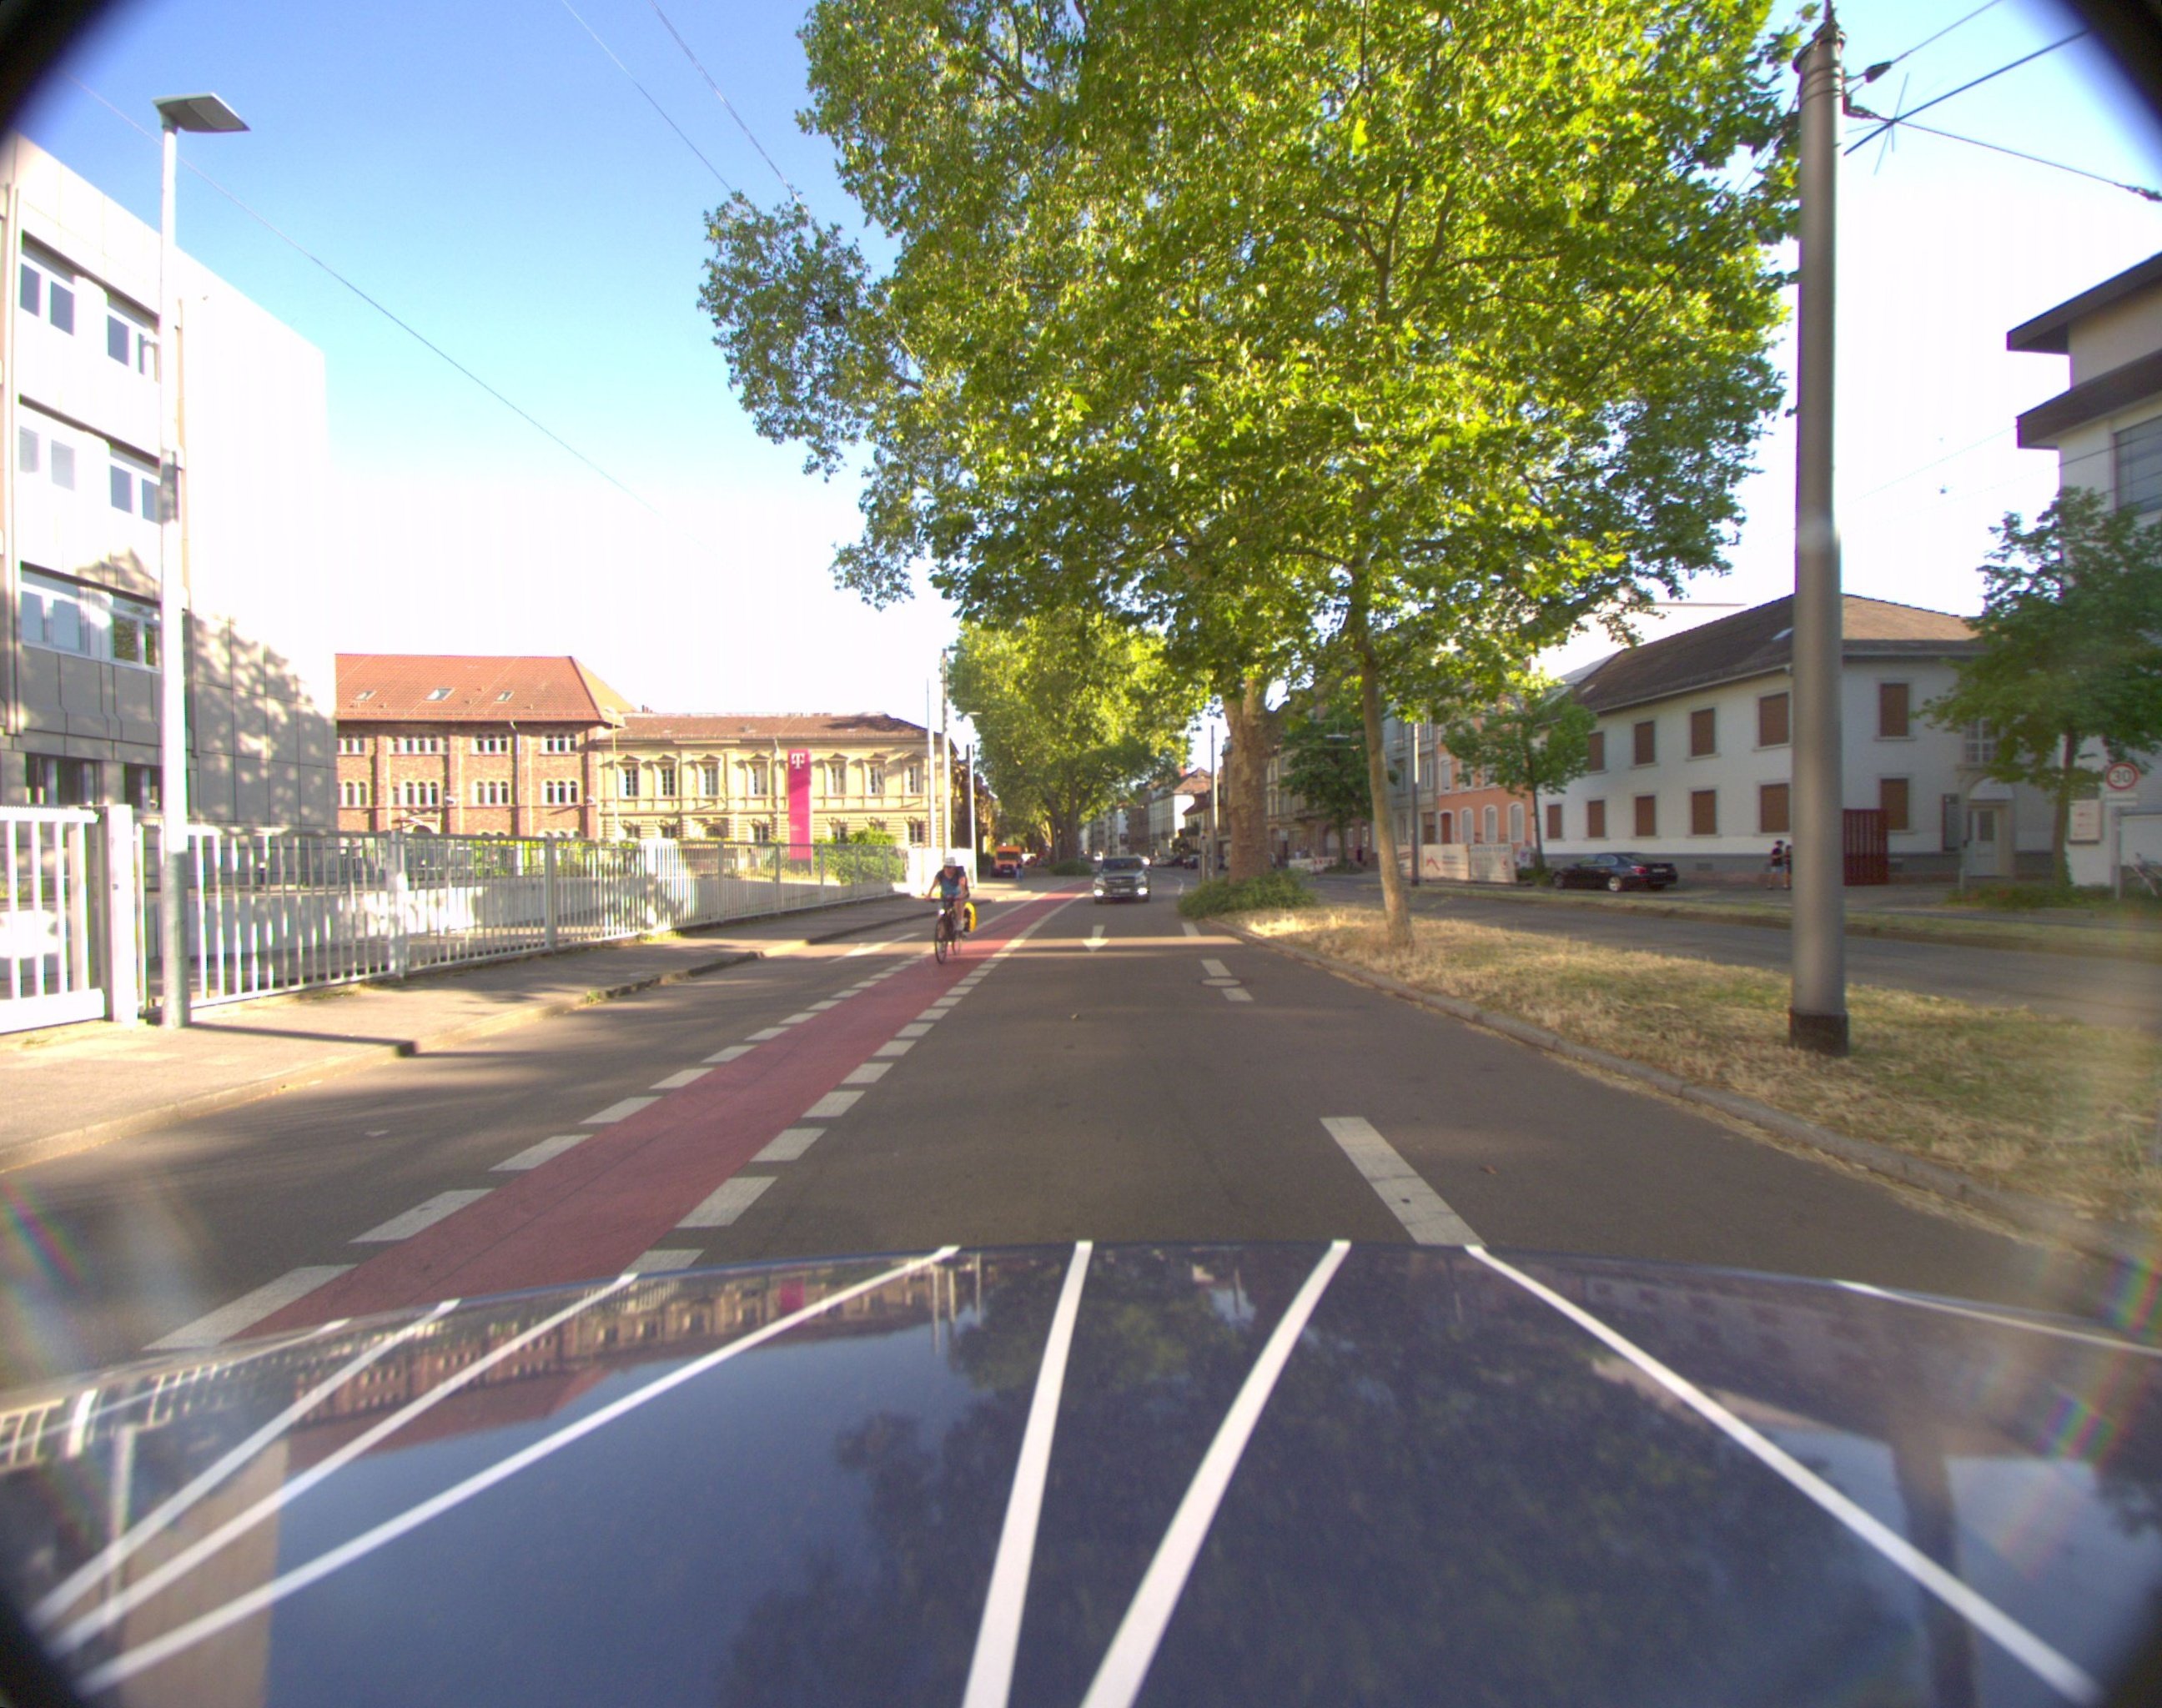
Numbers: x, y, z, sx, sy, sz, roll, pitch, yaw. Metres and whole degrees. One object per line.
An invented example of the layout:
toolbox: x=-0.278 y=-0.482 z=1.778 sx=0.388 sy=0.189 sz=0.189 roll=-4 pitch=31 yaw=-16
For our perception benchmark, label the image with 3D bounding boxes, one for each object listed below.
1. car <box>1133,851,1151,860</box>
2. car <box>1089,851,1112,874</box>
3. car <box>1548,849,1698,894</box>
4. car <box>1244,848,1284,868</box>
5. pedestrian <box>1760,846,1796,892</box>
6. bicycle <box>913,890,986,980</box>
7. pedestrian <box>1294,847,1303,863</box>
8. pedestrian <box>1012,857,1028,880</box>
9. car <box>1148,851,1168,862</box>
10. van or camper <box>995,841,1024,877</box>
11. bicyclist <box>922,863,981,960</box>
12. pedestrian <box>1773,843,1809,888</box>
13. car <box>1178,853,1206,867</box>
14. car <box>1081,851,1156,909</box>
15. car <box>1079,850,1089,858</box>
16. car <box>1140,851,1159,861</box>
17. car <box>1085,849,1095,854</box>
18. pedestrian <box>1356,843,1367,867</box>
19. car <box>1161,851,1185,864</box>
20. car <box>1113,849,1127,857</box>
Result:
car: x=10.471 y=0.250 z=130.707 sx=2.088 sy=1.531 sz=4.253 roll=-4 pitch=1 yaw=-7
car: x=1.862 y=0.786 z=70.985 sx=1.998 sy=2.002 sz=4.000 roll=-2 pitch=1 yaw=2
car: x=20.521 y=0.619 z=29.053 sx=2.088 sy=1.462 sz=4.576 roll=-4 pitch=1 yaw=-7
car: x=16.875 y=0.364 z=70.225 sx=2.088 sy=1.664 sz=4.530 roll=-4 pitch=1 yaw=-7
pedestrian: x=23.350 y=0.492 z=25.470 sx=0.537 sy=1.519 sz=0.711 roll=-1 pitch=1 yaw=-11
bicycle: x=-1.990 y=1.200 z=11.858 sx=0.764 sy=1.137 sz=2.306 roll=-1 pitch=0 yaw=-1
pedestrian: x=20.185 y=0.090 z=70.478 sx=0.640 sy=1.519 sz=0.616 roll=-1 pitch=1 yaw=4
pedestrian: x=-3.980 y=0.954 z=49.861 sx=0.898 sy=1.464 sz=0.810 roll=-1 pitch=1 yaw=4
car: x=11.596 y=0.367 z=114.876 sx=2.088 sy=1.531 sz=4.036 roll=-4 pitch=1 yaw=-7
van or camper: x=-5.456 y=0.352 z=58.705 sx=1.999 sy=2.578 sz=5.623 roll=-2 pitch=1 yaw=-4
bicyclist: x=-2.010 y=0.875 z=11.870 sx=0.728 sy=1.414 sz=0.859 roll=-2 pitch=1 yaw=-1
pedestrian: x=24.329 y=0.400 z=26.036 sx=0.537 sy=1.519 sz=0.711 roll=-1 pitch=1 yaw=-5
car: x=13.524 y=0.693 z=92.923 sx=2.088 sy=1.531 sz=4.513 roll=-4 pitch=1 yaw=-7
car: x=1.374 y=0.790 z=25.750 sx=1.907 sy=1.634 sz=4.519 roll=-3 pitch=1 yaw=10
car: x=0.665 y=-0.059 z=182.891 sx=1.999 sy=1.741 sz=3.998 roll=-2 pitch=1 yaw=-4
car: x=10.800 y=0.331 z=120.797 sx=2.088 sy=1.531 sz=4.095 roll=-4 pitch=1 yaw=-7
car: x=2.525 y=-0.703 z=218.654 sx=2.088 sy=1.531 sz=4.124 roll=-4 pitch=1 yaw=-7
pedestrian: x=21.577 y=0.086 z=58.459 sx=0.562 sy=1.798 sz=0.704 roll=-1 pitch=1 yaw=-11
car: x=12.748 y=0.474 z=105.998 sx=2.088 sy=1.531 sz=5.101 roll=-4 pitch=1 yaw=-7
car: x=7.913 y=-0.147 z=156.224 sx=2.088 sy=1.531 sz=4.117 roll=-4 pitch=1 yaw=-7
